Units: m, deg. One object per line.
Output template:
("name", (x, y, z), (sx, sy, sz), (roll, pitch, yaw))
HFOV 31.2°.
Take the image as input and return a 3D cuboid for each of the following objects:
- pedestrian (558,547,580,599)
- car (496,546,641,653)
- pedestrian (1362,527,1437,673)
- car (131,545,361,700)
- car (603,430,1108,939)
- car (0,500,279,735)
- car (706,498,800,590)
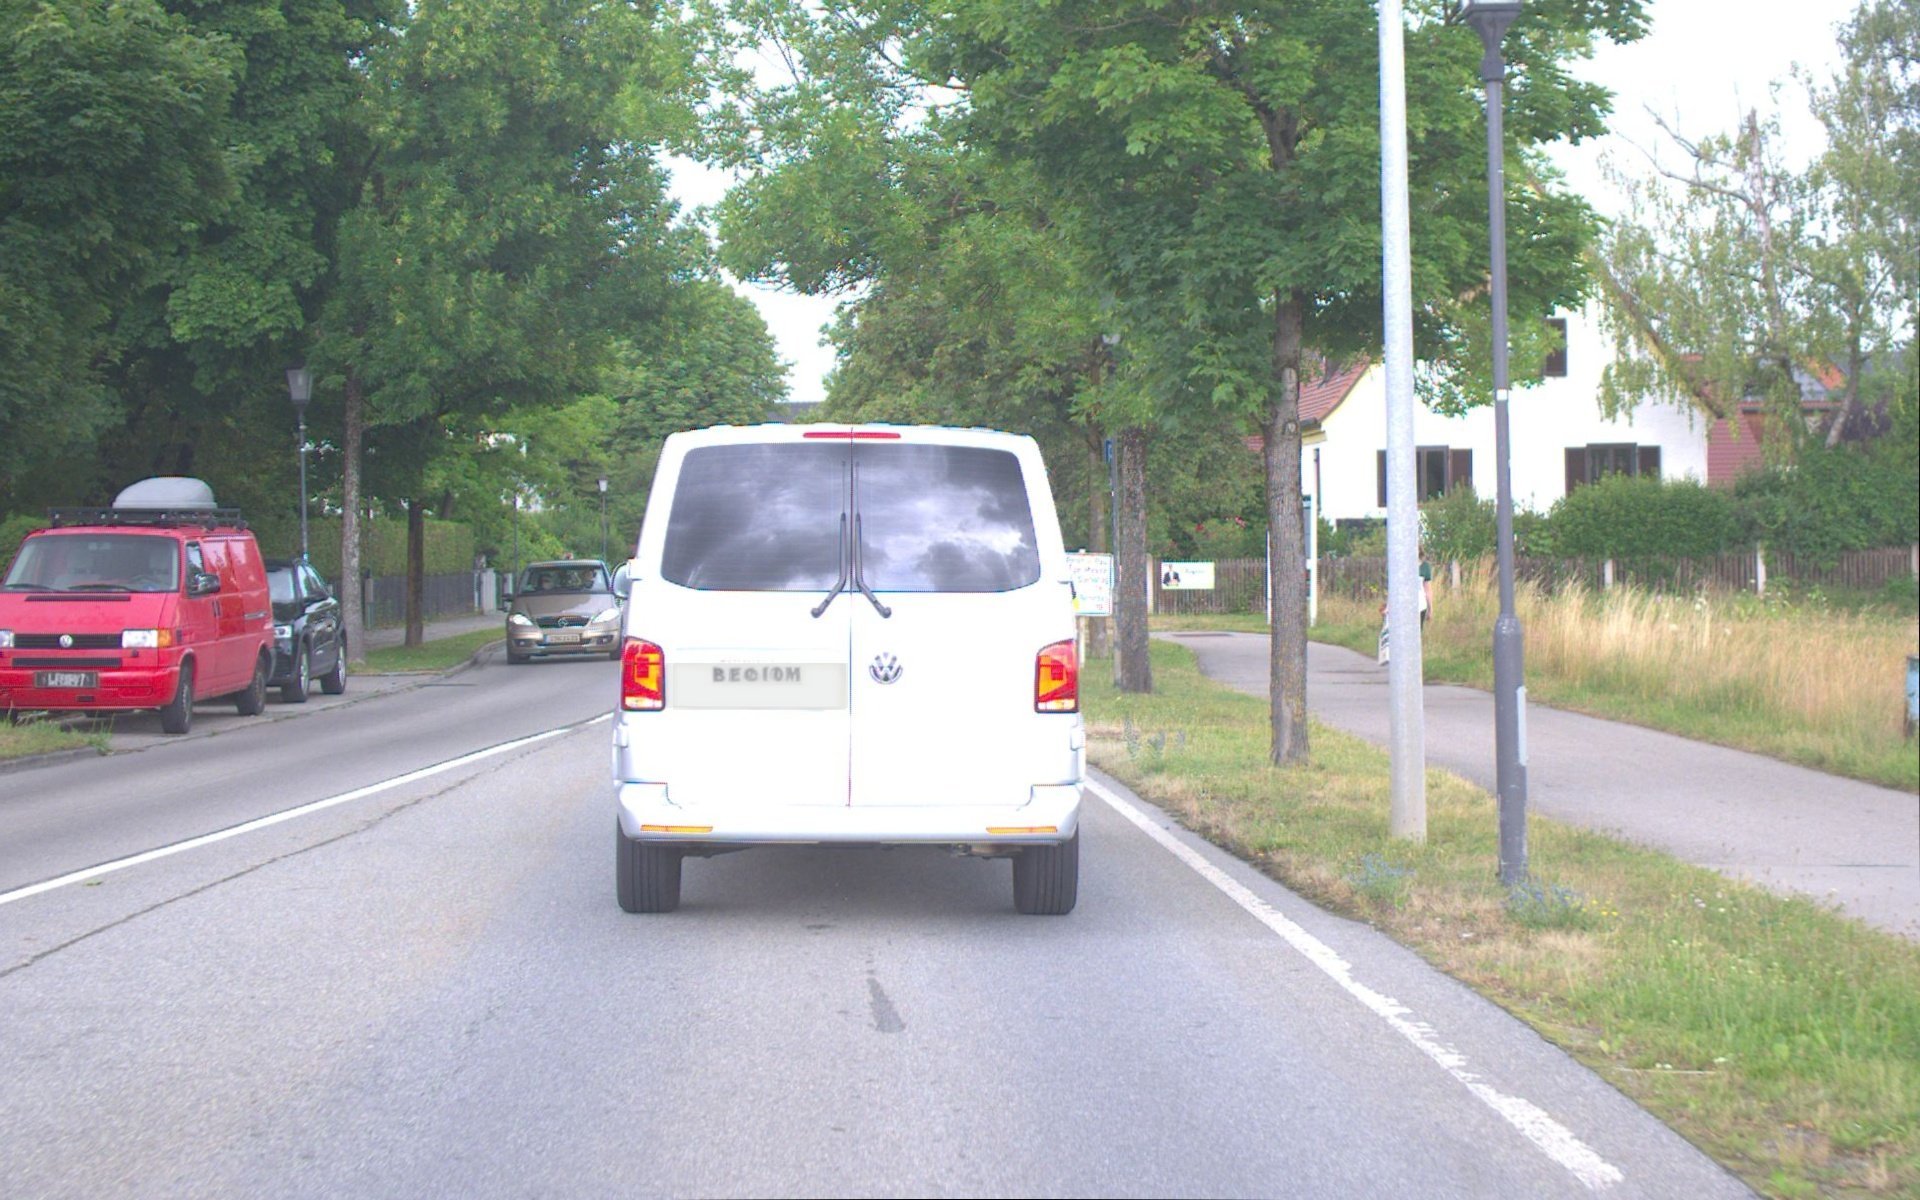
("pedestrian", (-11.797, -0.807, 103.738), (0.622, 1.544, 0.522), (1, 0, -5))
("car", (-6.056, -0.038, 53.529), (1.707, 1.527, 3.507), (-2, 1, 2))
("pedestrian", (5.297, -0.007, 41.471), (0.837, 1.749, 0.869), (0, 1, 3))
("car", (-7.929, 0.209, 38.504), (1.771, 1.592, 4.238), (0, 1, -1))
("car", (-0.458, 0.298, 14.899), (1.887, 1.905, 4.000), (0, 1, -2))
("car", (-7.846, 0.096, 32.530), (1.830, 2.023, 5.046), (1, 1, -1))
("car", (-4.716, -1.266, 78.810), (1.993, 2.007, 4.000), (1, 1, -2))
